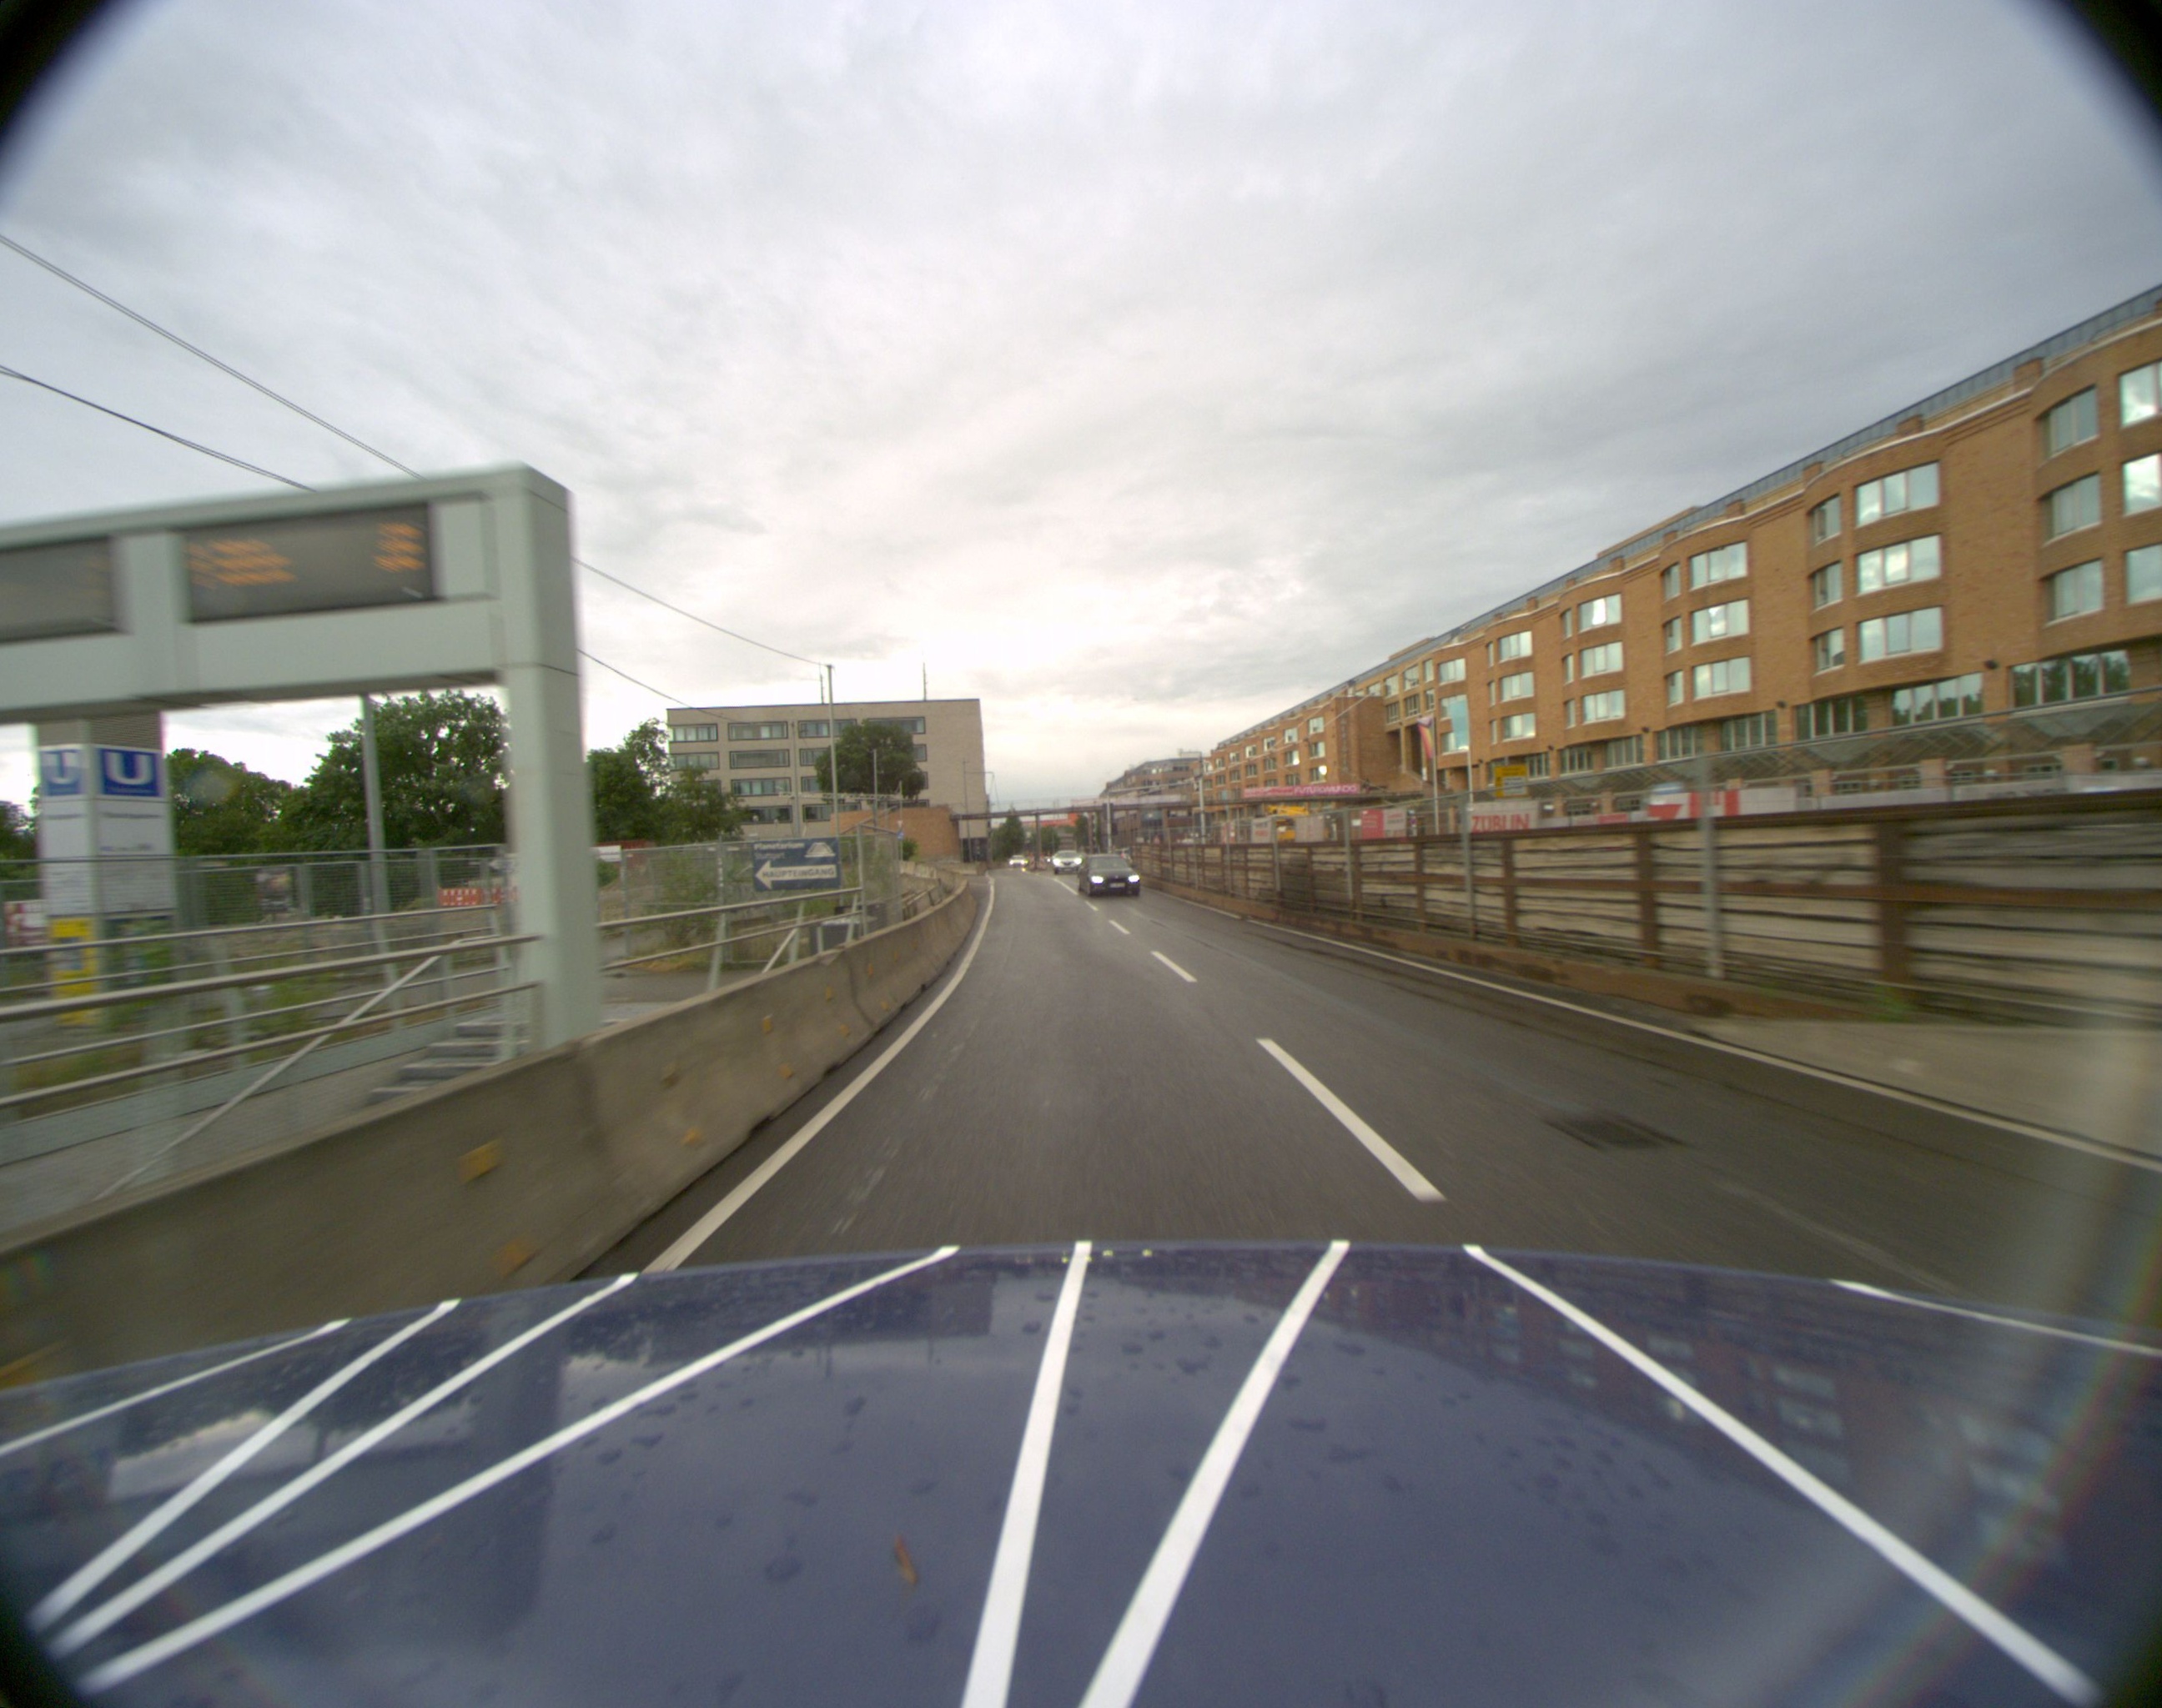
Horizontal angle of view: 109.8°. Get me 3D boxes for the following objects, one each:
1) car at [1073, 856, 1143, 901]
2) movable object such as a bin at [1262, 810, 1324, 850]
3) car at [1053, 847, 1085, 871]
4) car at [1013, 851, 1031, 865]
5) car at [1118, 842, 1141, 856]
[{"bbox_3d":[0.897,0.831,27.899,1.773,1.435,4.653,-3,0,-7],"label":"car"},{"bbox_3d":[12.744,-1.403,46.026,2.033,2.264,4.289,1,0,-8],"label":"movable object such as a bin"},{"bbox_3d":[-0.906,0.346,52.930,1.773,1.524,4.654,-3,0,-6],"label":"car"},{"bbox_3d":[-6.946,0.449,89.657,1.772,1.524,4.655,-3,0,-1],"label":"car"},{"bbox_3d":[5.631,-0.570,88.619,1.752,1.540,4.520,-2,0,-7],"label":"car"}]
